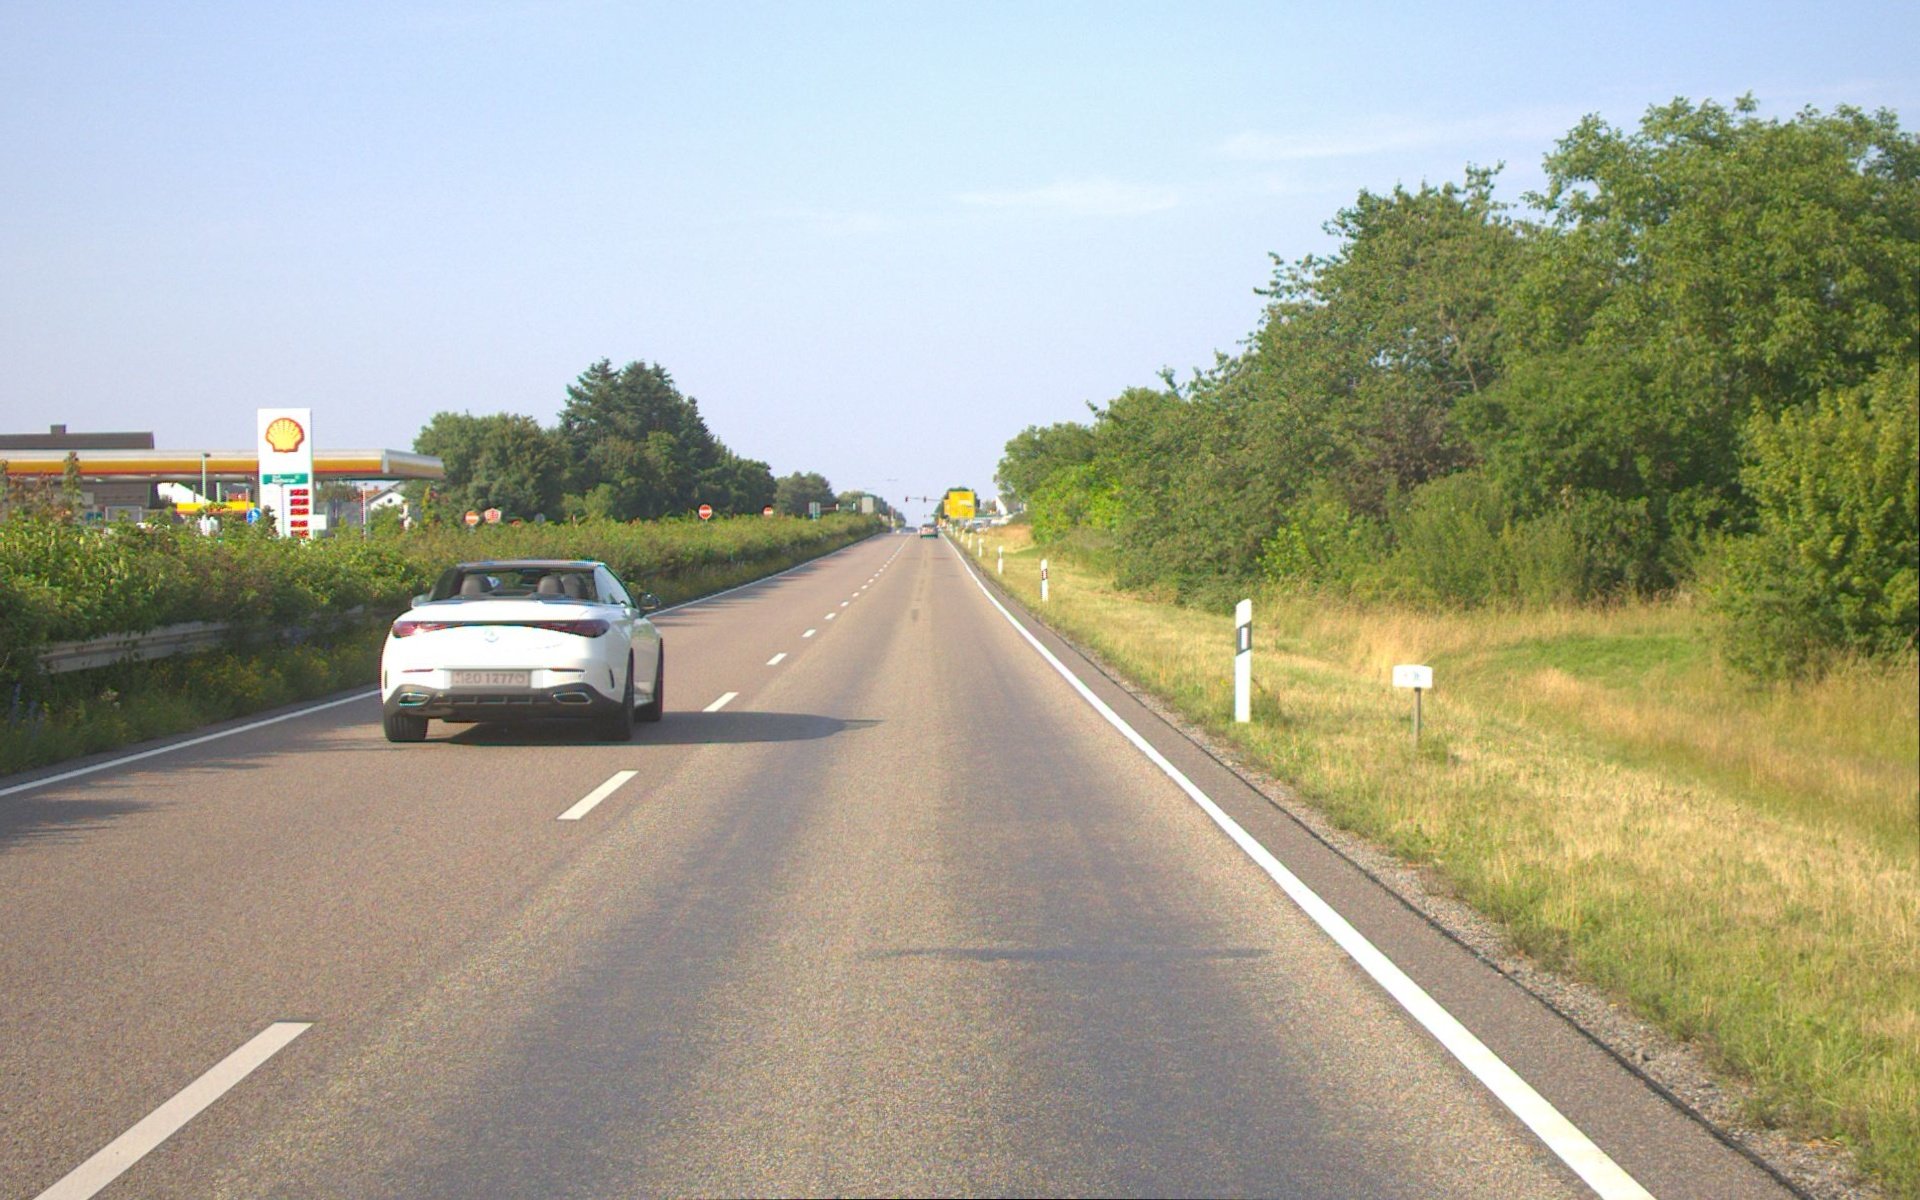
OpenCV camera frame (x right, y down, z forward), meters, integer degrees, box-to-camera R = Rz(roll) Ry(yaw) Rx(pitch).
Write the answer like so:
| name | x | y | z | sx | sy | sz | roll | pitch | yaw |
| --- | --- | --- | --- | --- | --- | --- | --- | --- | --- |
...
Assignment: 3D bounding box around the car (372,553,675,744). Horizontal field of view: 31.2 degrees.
| name | x | y | z | sx | sy | sz | roll | pitch | yaw |
| --- | --- | --- | --- | --- | --- | --- | --- | --- | --- |
| car | -3.359 | 0.315 | 27.311 | 1.771 | 1.333 | 4.950 | 1 | 1 | 0 |
